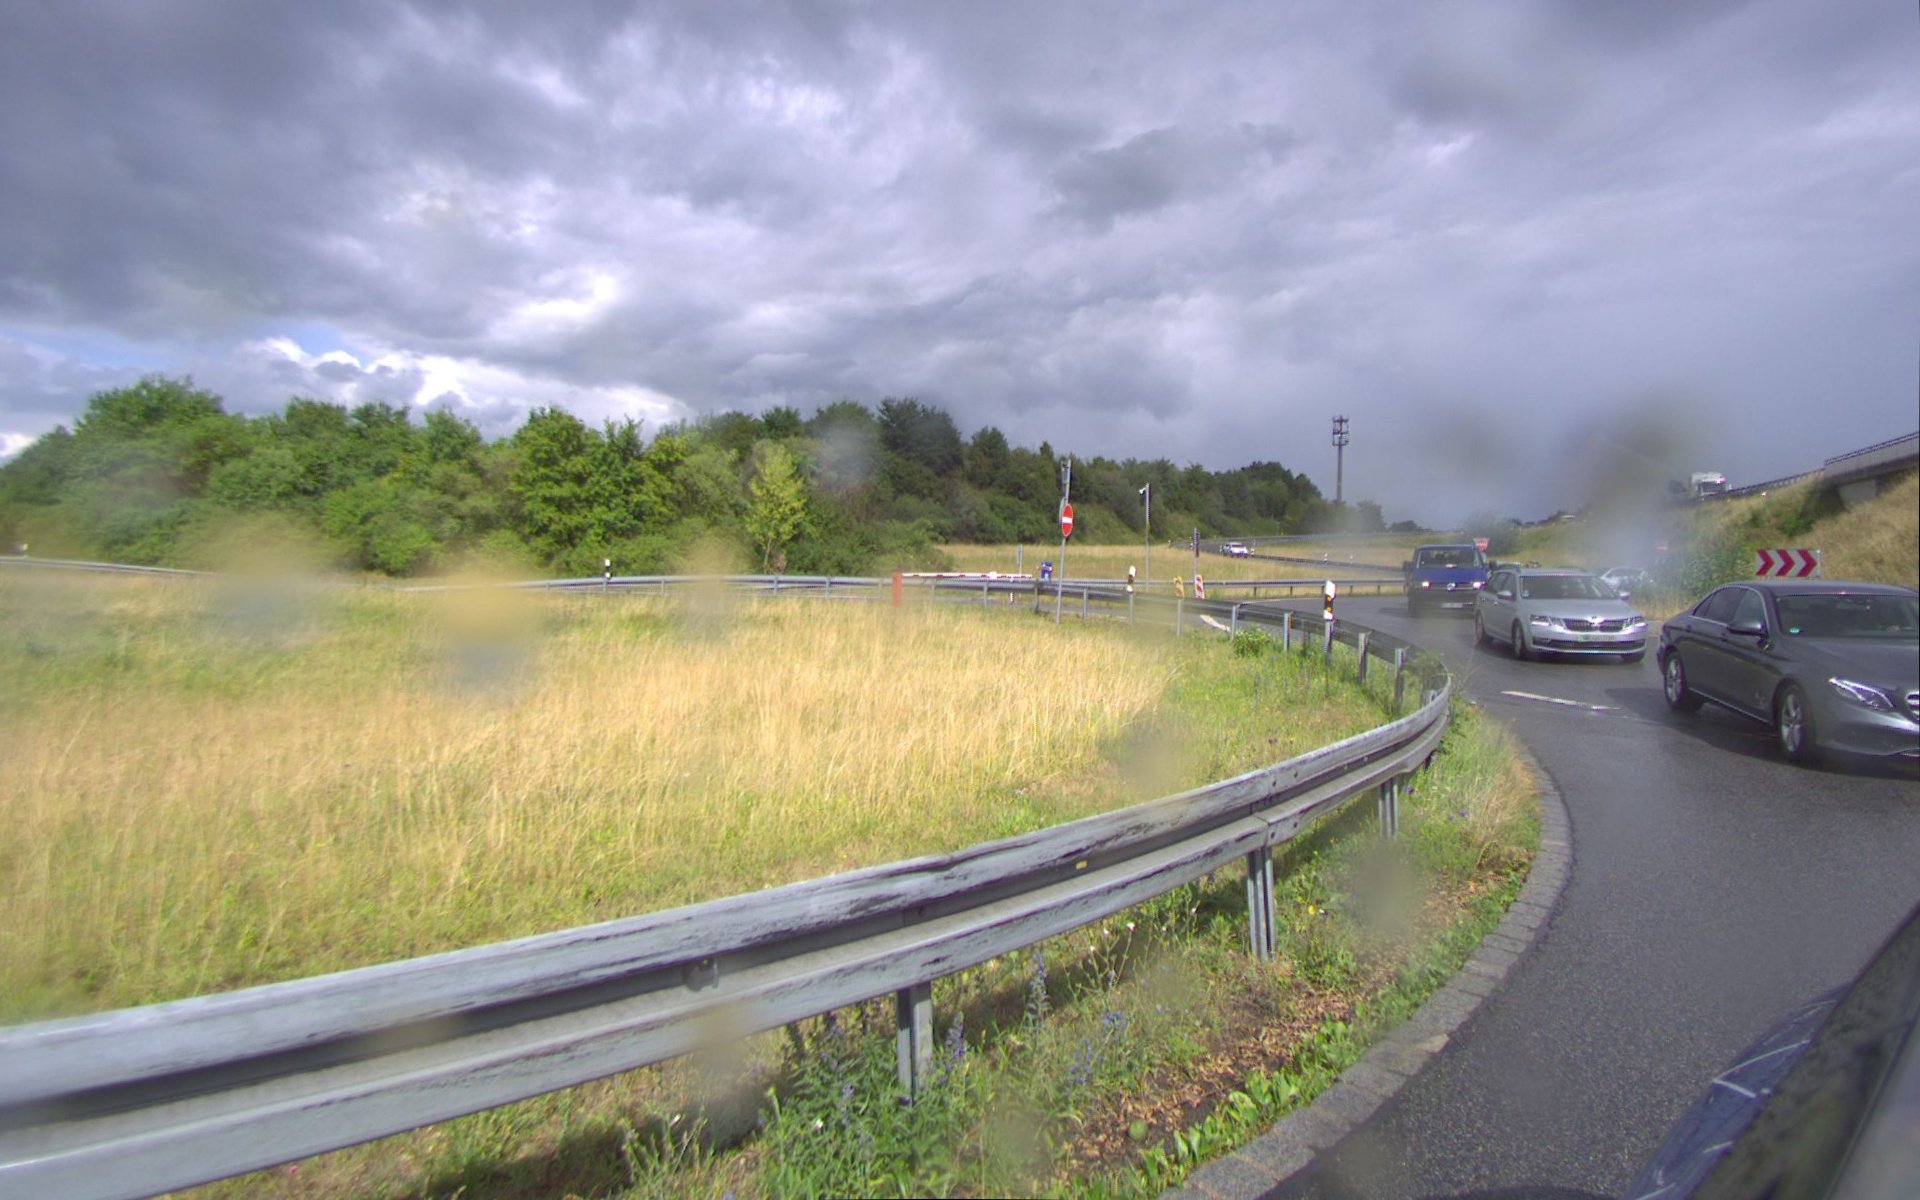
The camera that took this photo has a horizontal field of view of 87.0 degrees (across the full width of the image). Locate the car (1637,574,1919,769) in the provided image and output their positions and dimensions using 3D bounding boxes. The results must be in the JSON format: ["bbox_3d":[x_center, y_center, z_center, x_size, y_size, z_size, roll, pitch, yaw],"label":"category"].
[{"bbox_3d":[8.185,0.483,9.489,1.747,1.408,4.567,1,2,17],"label":"car"}]

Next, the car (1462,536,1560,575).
[{"bbox_3d":[23.174,-1.859,42.531,3.847,1.555,1.576,0,3,-24],"label":"car"}]

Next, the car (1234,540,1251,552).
[{"bbox_3d":[30.987,-5.922,111.000,1.688,1.305,3.757,1,3,16],"label":"car"}]

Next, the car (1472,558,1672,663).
[{"bbox_3d":[10.120,0.058,17.135,1.773,1.415,4.330,2,4,16],"label":"car"}]

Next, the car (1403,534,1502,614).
[{"bbox_3d":[13.400,-0.834,27.851,1.871,1.938,5.647,1,4,21],"label":"car"}]

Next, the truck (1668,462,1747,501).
[{"bbox_3d":[75.687,-11.903,102.711,3.115,3.233,9.242,-1,3,15],"label":"truck"}]

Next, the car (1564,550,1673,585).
[{"bbox_3d":[29.573,-1.500,45.597,3.799,1.492,1.608,1,3,21],"label":"car"}]
